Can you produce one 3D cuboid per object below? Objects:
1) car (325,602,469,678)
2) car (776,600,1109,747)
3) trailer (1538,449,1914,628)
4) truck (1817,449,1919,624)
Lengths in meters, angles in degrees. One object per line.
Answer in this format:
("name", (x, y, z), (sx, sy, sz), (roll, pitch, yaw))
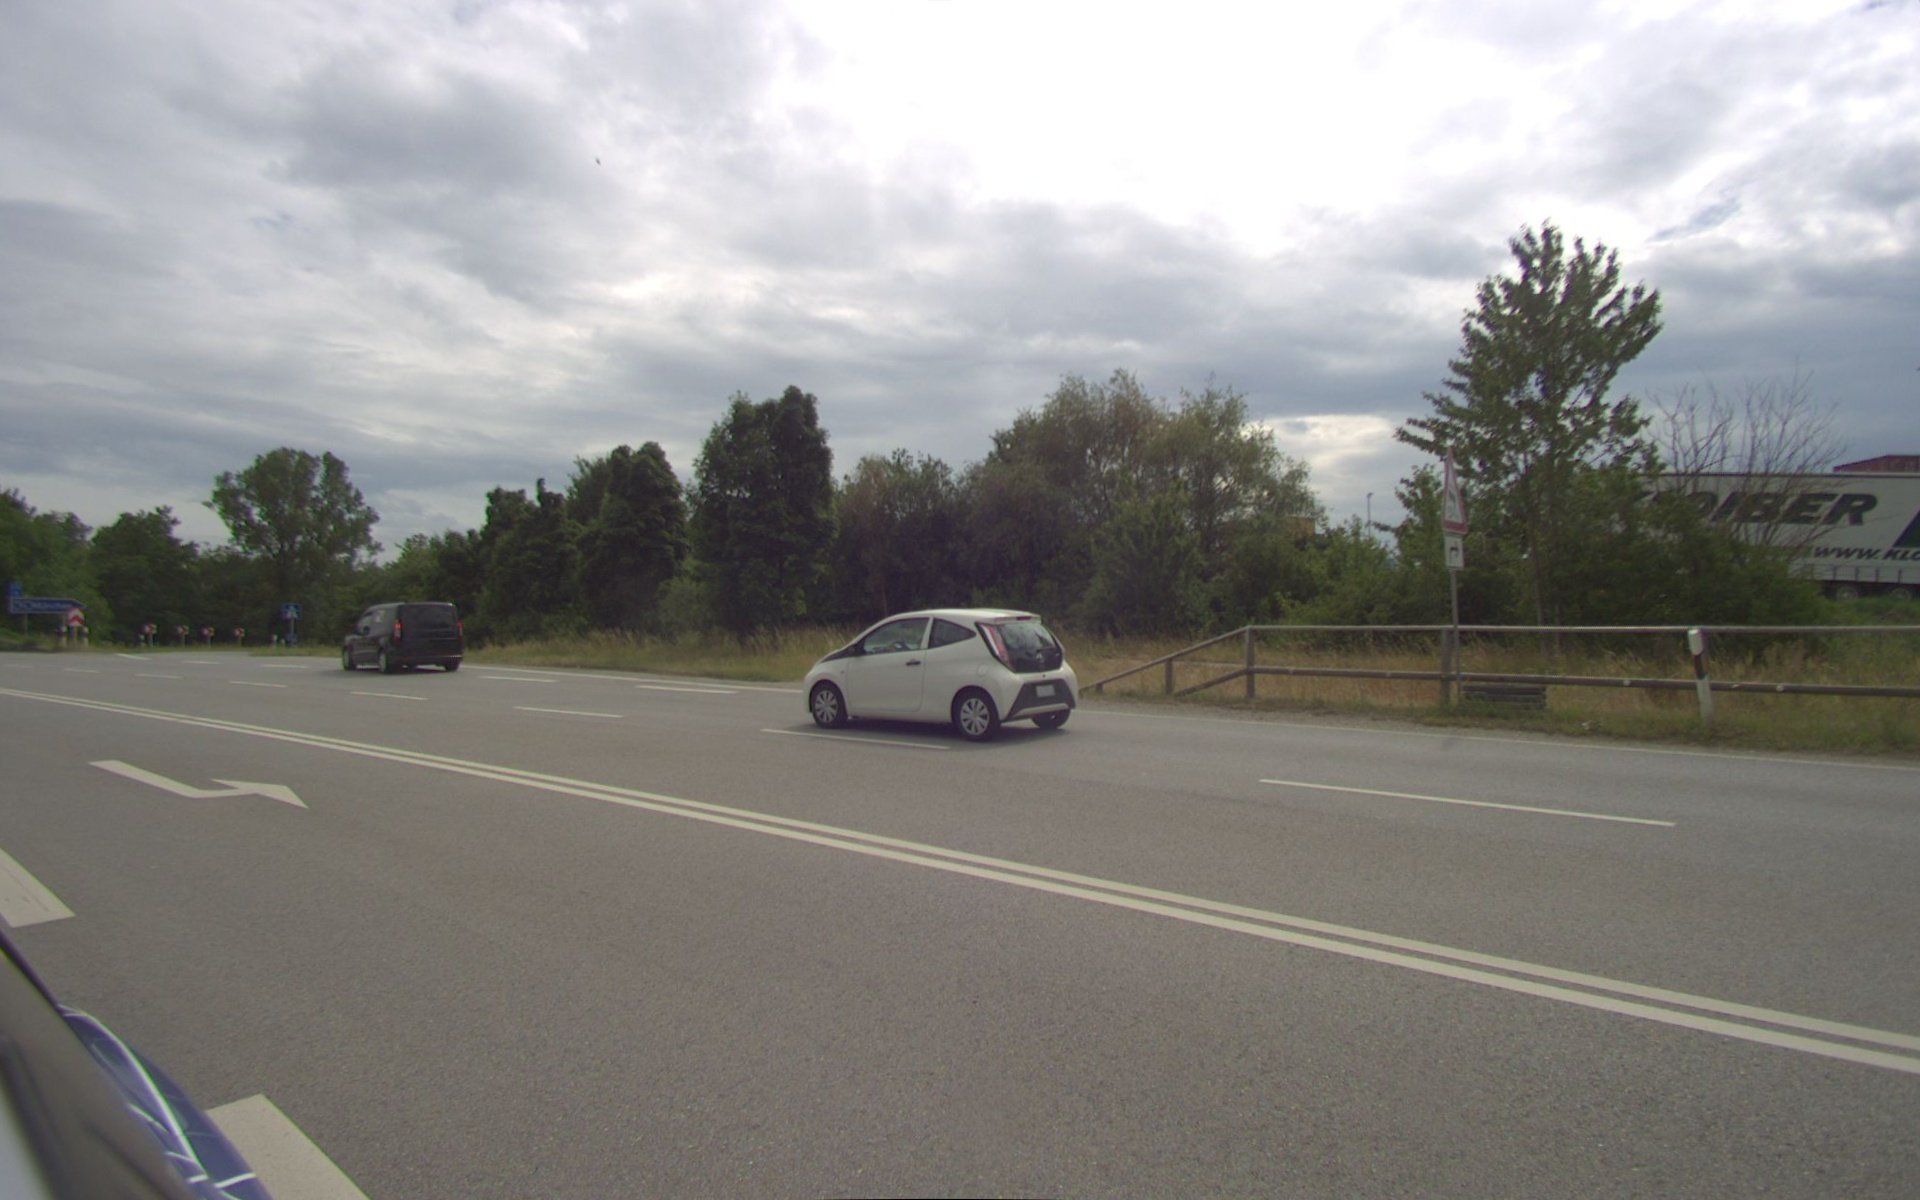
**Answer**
("car", (-14.788, 1.020, 26.477), (4.318, 1.811, 1.973), (-2, -1, 42))
("car", (-0.287, 0.805, 12.332), (3.739, 1.500, 1.858), (-2, -1, 39))
("trailer", (23.733, -1.734, 32.071), (8.917, 5.034, 2.788), (-1, 0, 20))
("truck", (29.761, -1.889, 29.814), (6.144, 5.034, 2.786), (-1, 0, 20))
